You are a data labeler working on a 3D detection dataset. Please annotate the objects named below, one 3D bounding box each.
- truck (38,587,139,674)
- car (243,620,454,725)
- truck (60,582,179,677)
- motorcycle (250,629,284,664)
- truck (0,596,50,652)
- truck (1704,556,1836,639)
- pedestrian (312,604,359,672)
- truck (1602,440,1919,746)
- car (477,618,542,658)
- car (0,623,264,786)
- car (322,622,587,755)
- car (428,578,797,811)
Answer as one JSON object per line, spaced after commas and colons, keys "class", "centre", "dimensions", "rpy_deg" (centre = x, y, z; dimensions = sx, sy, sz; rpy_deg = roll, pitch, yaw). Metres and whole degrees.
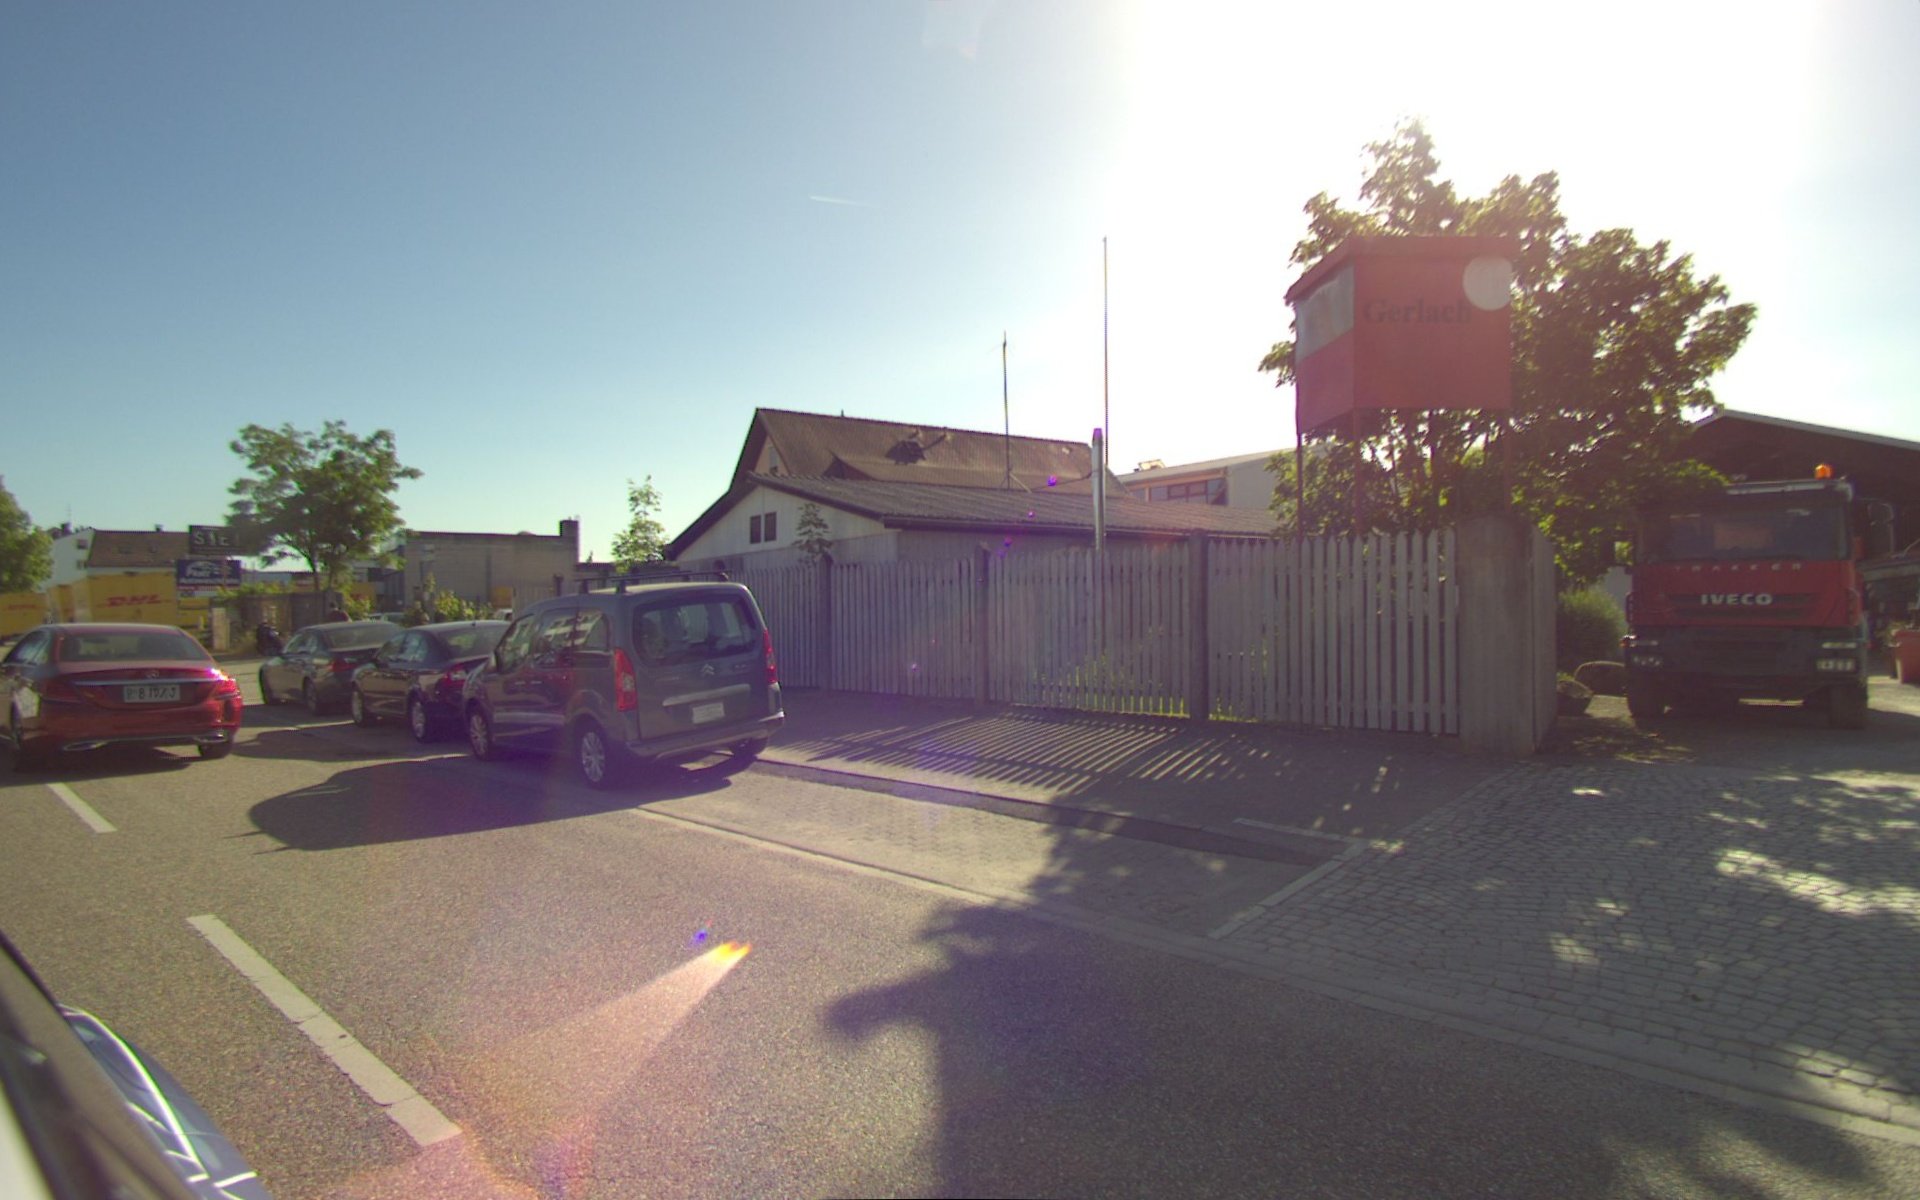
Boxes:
{"class": "truck", "centre": [-31.818, 1.058, 36.869], "dimensions": [5.750, 2.895, 2.116], "rpy_deg": [-1, 1, 43]}
{"class": "car", "centre": [-10.553, 1.137, 17.289], "dimensions": [4.923, 1.459, 1.756], "rpy_deg": [-2, 1, 43]}
{"class": "truck", "centre": [-26.818, 0.875, 32.203], "dimensions": [5.750, 2.734, 2.144], "rpy_deg": [-1, 1, 43]}
{"class": "motorcycle", "centre": [-22.606, 1.510, 32.994], "dimensions": [0.530, 1.065, 2.071], "rpy_deg": [-3, 1, -44]}
{"class": "truck", "centre": [-54.381, 1.331, 58.346], "dimensions": [5.911, 3.052, 2.256], "rpy_deg": [-1, 1, 43]}
{"class": "truck", "centre": [33.000, -0.083, 41.150], "dimensions": [6.550, 3.114, 2.503], "rpy_deg": [0, -1, -36]}
{"class": "pedestrian", "centre": [-16.880, 1.016, 27.344], "dimensions": [0.750, 1.756, 0.811], "rpy_deg": [-1, 1, 36]}
{"class": "truck", "centre": [11.675, -0.042, 14.905], "dimensions": [2.899, 3.365, 7.338], "rpy_deg": [-1, -1, 39]}
{"class": "car", "centre": [-18.624, 1.551, 41.739], "dimensions": [1.623, 1.541, 4.009], "rpy_deg": [0, -2, -36]}
{"class": "car", "centre": [-9.475, 1.002, 11.088], "dimensions": [4.526, 1.431, 1.851], "rpy_deg": [-2, -3, 39]}
{"class": "car", "centre": [-7.152, 1.098, 14.078], "dimensions": [4.615, 1.459, 1.756], "rpy_deg": [-2, 1, 43]}
{"class": "car", "centre": [-3.798, 0.802, 10.533], "dimensions": [1.755, 1.863, 4.618], "rpy_deg": [-3, 1, -45]}
